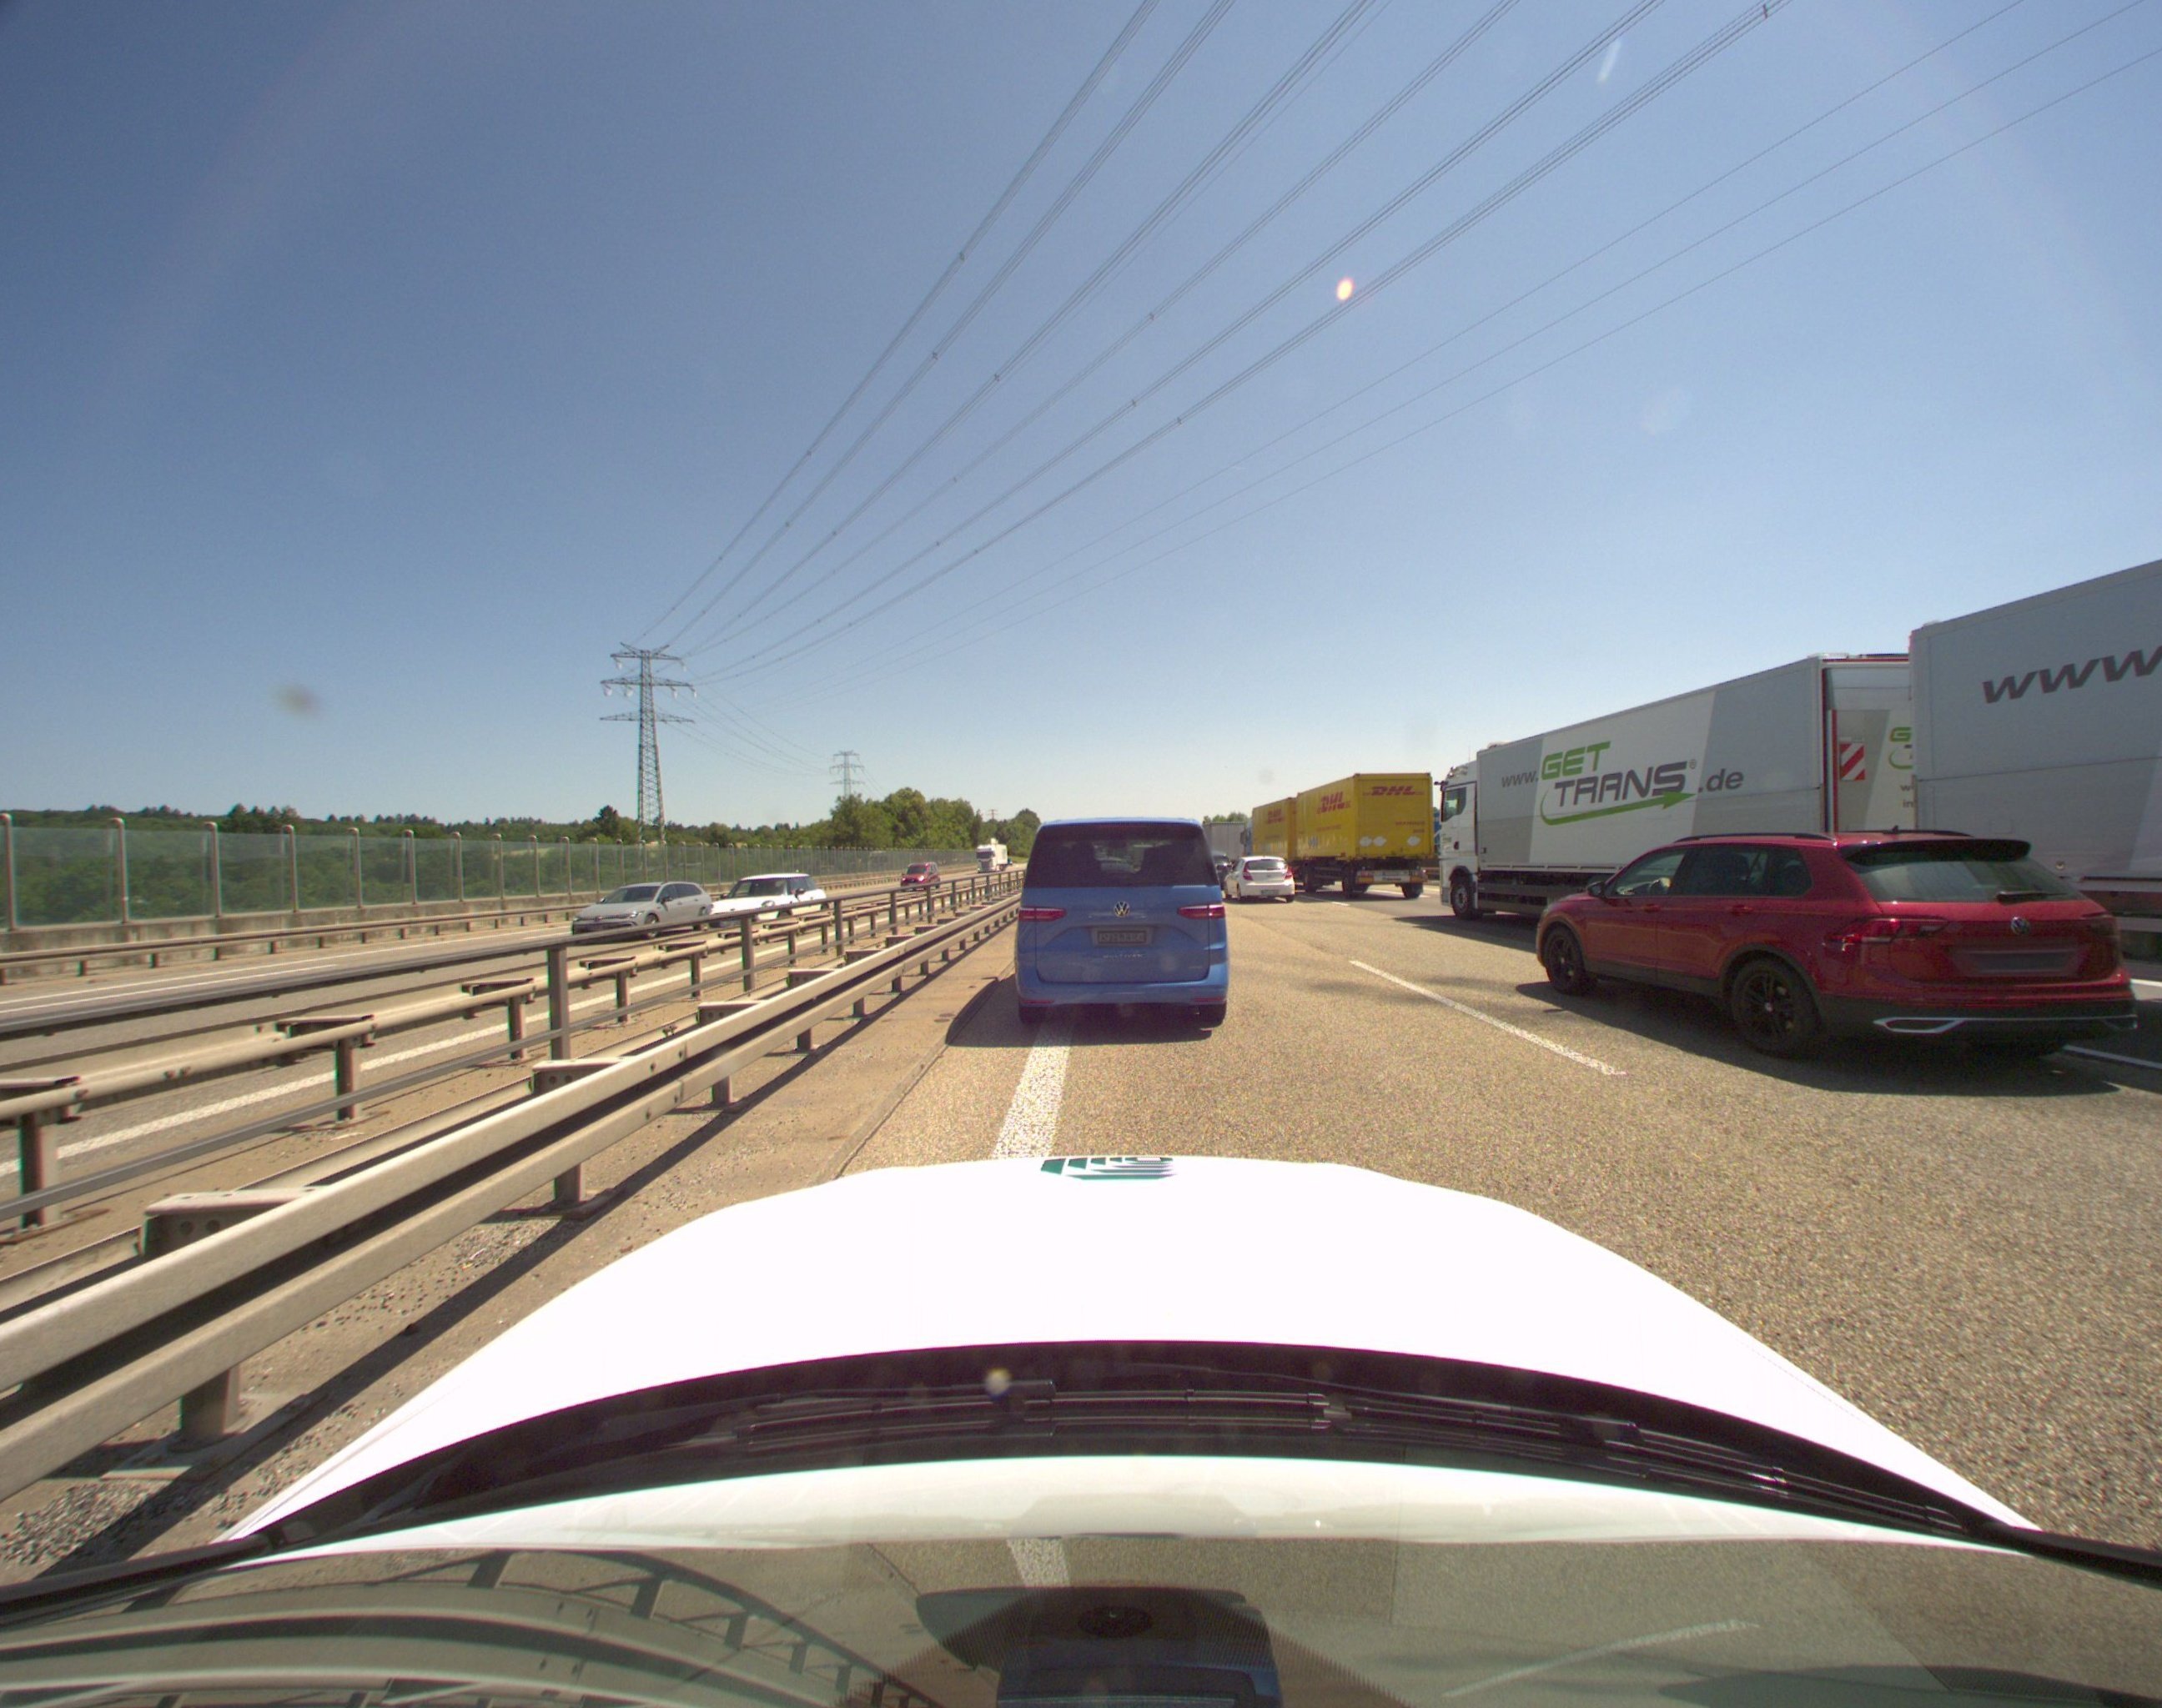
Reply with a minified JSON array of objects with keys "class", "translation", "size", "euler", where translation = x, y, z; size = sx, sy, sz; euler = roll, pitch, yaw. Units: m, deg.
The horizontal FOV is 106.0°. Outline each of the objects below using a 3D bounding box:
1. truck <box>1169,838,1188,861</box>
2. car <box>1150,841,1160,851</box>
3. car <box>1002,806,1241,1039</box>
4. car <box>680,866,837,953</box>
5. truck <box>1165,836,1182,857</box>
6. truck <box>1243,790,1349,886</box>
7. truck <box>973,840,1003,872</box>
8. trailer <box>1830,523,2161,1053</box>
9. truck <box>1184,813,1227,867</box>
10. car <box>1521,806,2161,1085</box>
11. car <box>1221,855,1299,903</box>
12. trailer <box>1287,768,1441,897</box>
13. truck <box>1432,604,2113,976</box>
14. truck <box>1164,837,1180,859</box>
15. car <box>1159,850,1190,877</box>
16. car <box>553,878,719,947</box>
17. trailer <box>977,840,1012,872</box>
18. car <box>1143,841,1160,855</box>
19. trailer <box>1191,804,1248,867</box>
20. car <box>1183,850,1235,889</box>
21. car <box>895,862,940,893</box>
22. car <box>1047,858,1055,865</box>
[{"class":"truck","translation":[10.923,-0.470,91.421],"size":[1.791,2.449,4.506],"euler":[0,-1,2]},{"class":"car","translation":[14.277,-1.511,156.904],"size":[1.790,1.751,3.945],"euler":[0,-1,2]},{"class":"car","translation":[0.392,0.579,8.590],"size":[1.923,1.874,4.001],"euler":[0,-1,2]},{"class":"car","translation":[-7.100,1.160,18.381],"size":[1.865,1.530,3.609],"euler":[-7,-1,1]},{"class":"truck","translation":[11.954,-0.917,105.606],"size":[1.790,2.596,4.307],"euler":[0,-1,2]},{"class":"truck","translation":[10.166,-0.609,39.764],"size":[2.690,4.088,9.940],"euler":[0,-1,1]},{"class":"truck","translation":[-13.115,0.299,115.522],"size":[2.917,4.293,6.862],"euler":[-4,-1,3]},{"class":"trailer","translation":[9.348,-0.508,4.548],"size":[2.888,3.891,8.216],"euler":[0,-1,1]},{"class":"truck","translation":[11.224,-1.163,74.123],"size":[3.014,4.611,7.925],"euler":[0,-1,2]},{"class":"car","translation":[5.768,0.580,7.068],"size":[1.702,1.679,4.286],"euler":[0,-1,2]},{"class":"car","translation":[5.875,0.795,27.119],"size":[1.808,1.470,3.933],"euler":[0,-1,1]},{"class":"trailer","translation":[10.099,-0.620,30.334],"size":[2.673,4.088,8.980],"euler":[0,-1,1]},{"class":"truck","translation":[9.595,-0.613,13.937],"size":[2.841,3.934,10.612],"euler":[0,-1,2]},{"class":"truck","translation":[11.166,-0.697,100.126],"size":[1.735,2.549,4.212],"euler":[0,-1,2]},{"class":"car","translation":[6.857,0.684,60.052],"size":[1.955,1.936,3.933],"euler":[0,-1,2]},{"class":"car","translation":[-11.626,1.470,21.691],"size":[1.865,1.442,4.386],"euler":[-3,-1,1]},{"class":"trailer","translation":[-12.855,0.348,122.070],"size":[2.894,4.307,13.669],"euler":[-3,-1,2]},{"class":"car","translation":[8.929,-0.779,103.340],"size":[1.912,1.706,4.001],"euler":[0,-1,2]},{"class":"trailer","translation":[10.824,-1.267,64.689],"size":[3.014,4.611,10.930],"euler":[0,-1,2]},{"class":"car","translation":[5.814,0.715,37.365],"size":[1.809,1.679,3.933],"euler":[0,-1,1]},{"class":"car","translation":[-10.643,1.506,53.335],"size":[1.833,1.822,4.748],"euler":[-2,-1,1]},{"class":"car","translation":[-7.655,1.921,207.578],"size":[1.765,1.491,4.607],"euler":[-2,0,2]}]
